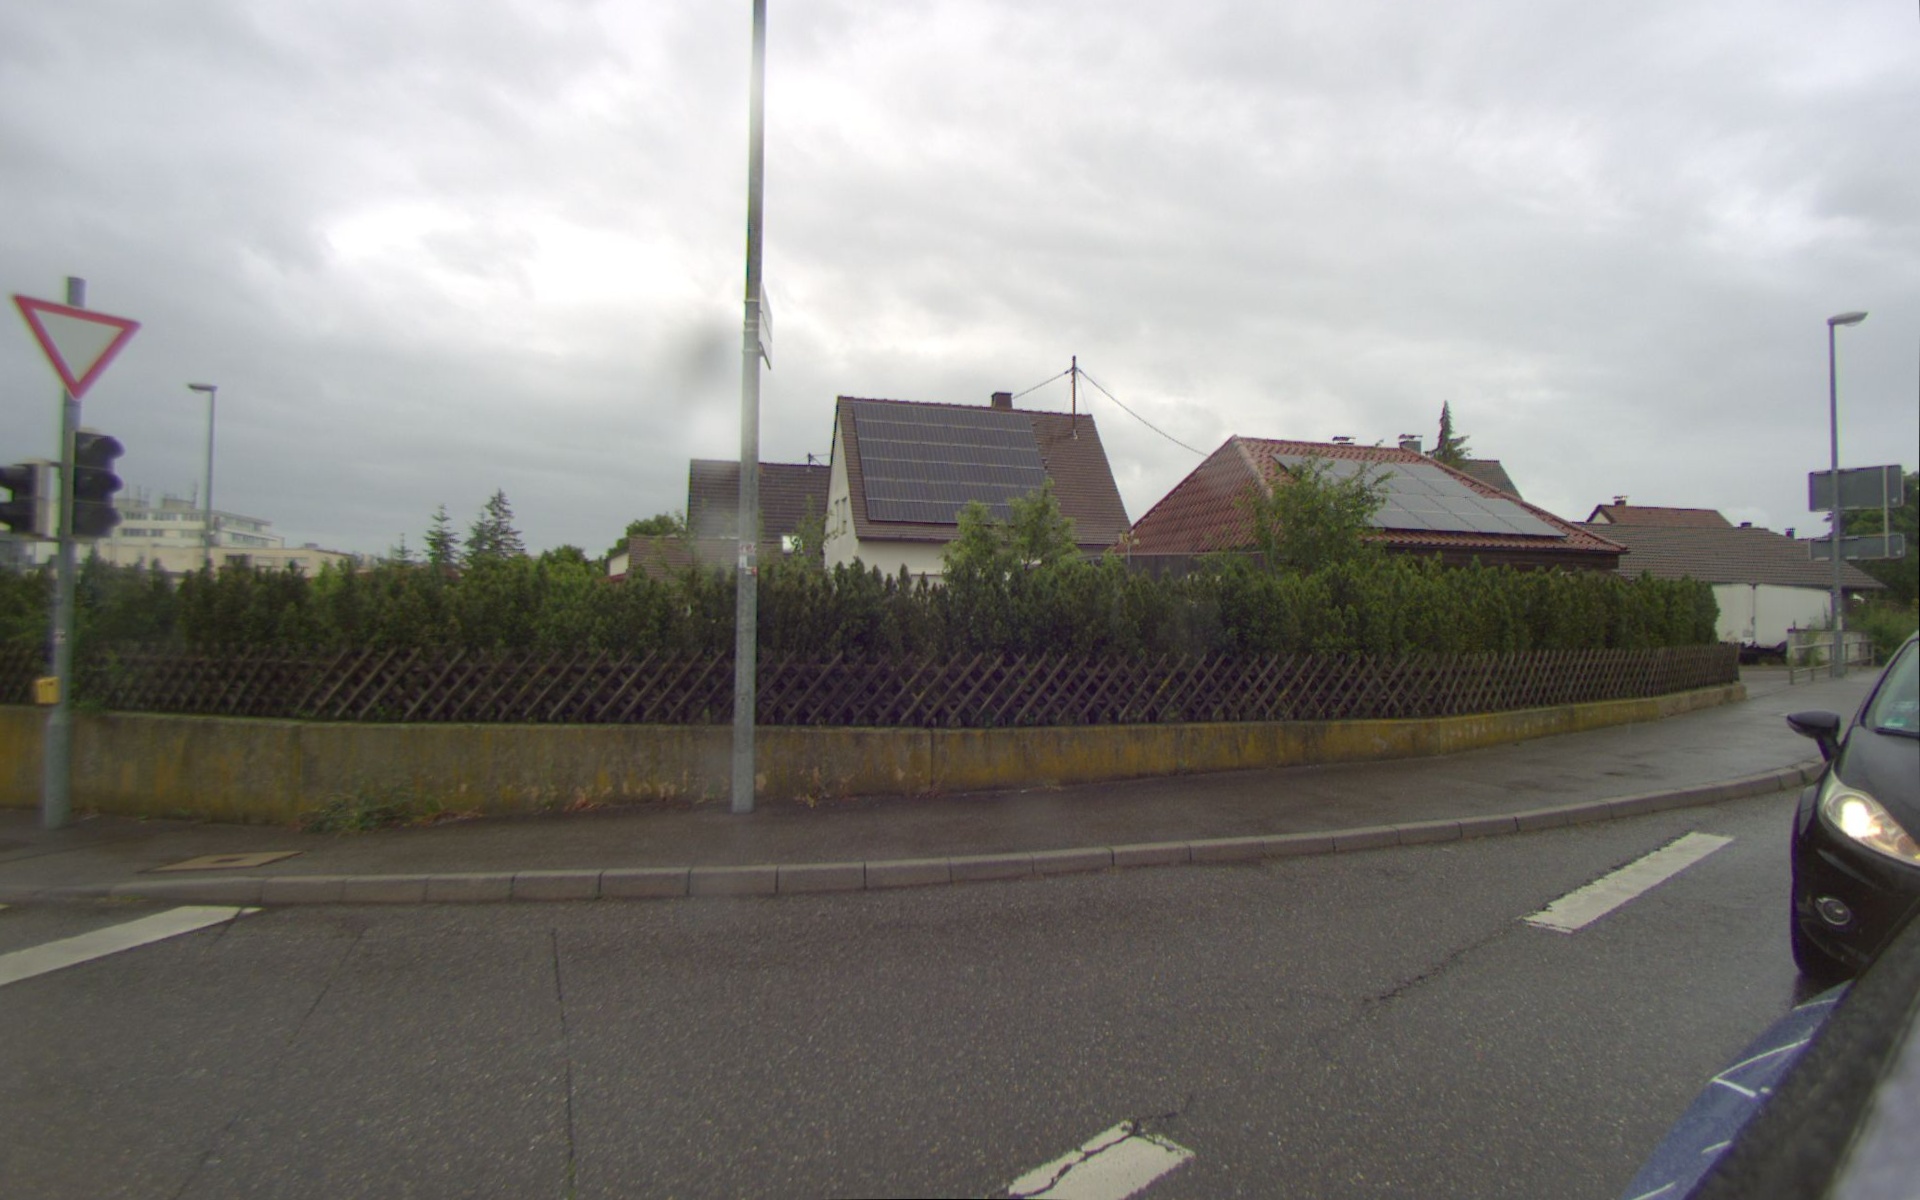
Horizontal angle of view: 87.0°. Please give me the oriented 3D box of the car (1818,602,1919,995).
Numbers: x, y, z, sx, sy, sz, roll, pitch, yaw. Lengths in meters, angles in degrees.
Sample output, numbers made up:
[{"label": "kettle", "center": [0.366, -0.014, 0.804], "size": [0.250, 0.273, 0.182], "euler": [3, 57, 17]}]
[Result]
[{"label": "car", "center": [5.388, 0.754, 4.738], "size": [3.867, 1.436, 1.663], "euler": [-1, 1, -43]}]

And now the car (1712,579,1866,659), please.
[{"label": "car", "center": [25.535, 0.560, 31.201], "size": [3.916, 2.380, 1.657], "euler": [0, -1, -14]}]
